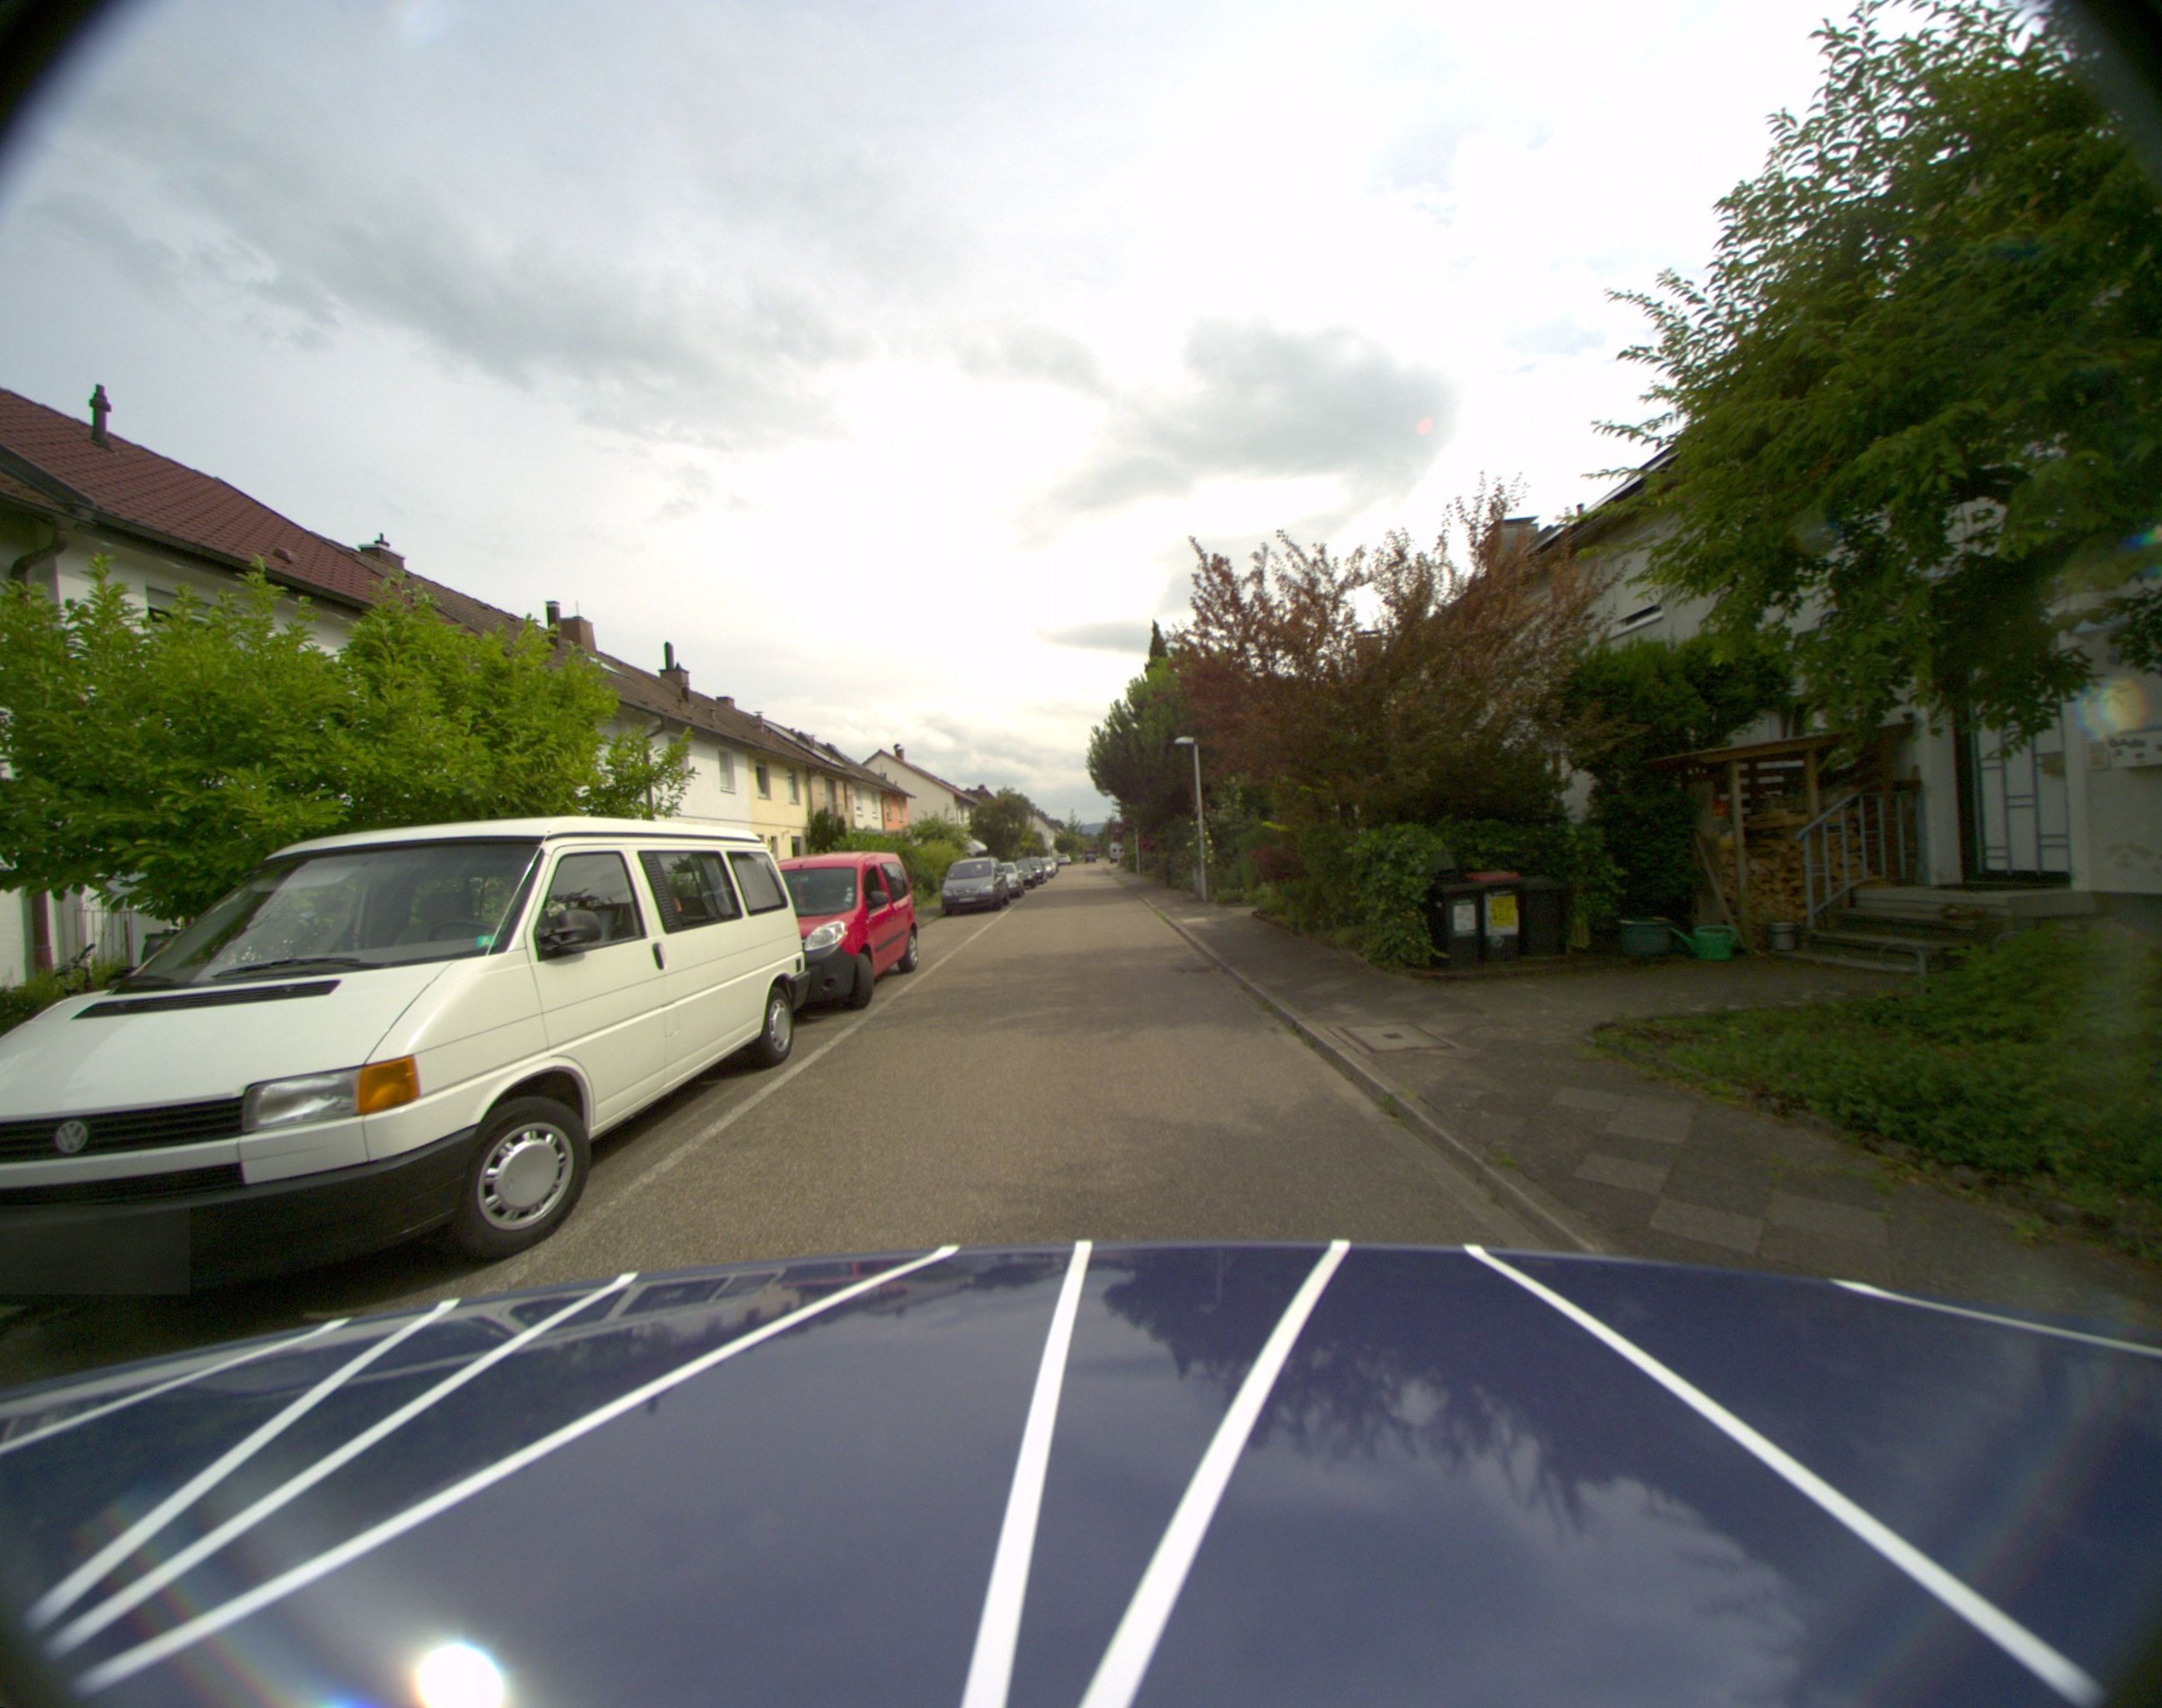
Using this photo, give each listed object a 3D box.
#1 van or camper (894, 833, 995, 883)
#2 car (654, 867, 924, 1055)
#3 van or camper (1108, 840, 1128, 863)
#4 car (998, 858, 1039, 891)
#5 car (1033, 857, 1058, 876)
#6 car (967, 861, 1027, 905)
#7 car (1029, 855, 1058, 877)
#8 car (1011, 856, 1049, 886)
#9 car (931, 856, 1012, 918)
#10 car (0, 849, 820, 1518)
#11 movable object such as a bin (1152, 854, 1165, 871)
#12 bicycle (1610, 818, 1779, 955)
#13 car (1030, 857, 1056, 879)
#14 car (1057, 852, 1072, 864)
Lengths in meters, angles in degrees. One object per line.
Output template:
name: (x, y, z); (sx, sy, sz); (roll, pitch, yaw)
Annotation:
van or camper: (-8.681, 0.275, 48.710); (5.811, 2.801, 2.537); (-3, 1, 4)
car: (-3.293, 1.082, 9.608); (1.815, 1.641, 4.409); (-3, 0, -3)
van or camper: (4.807, -0.359, 99.336); (2.346, 2.719, 5.747); (-4, 0, 1)
car: (-3.082, 0.991, 38.084); (1.737, 1.419, 4.125); (-4, 0, -2)
car: (-2.830, 0.958, 61.657); (1.697, 1.357, 4.697); (-4, 0, 0)
car: (-3.232, 1.072, 30.220); (1.872, 1.399, 4.766); (-5, 0, -2)
car: (-2.748, 0.880, 56.052); (1.746, 1.462, 4.217); (-4, 0, 1)
car: (-2.866, 0.941, 43.740); (1.753, 1.458, 4.647); (-4, 0, 0)
car: (-3.312, 0.941, 23.778); (1.872, 1.644, 4.463); (-4, 0, -1)
car: (-3.420, 1.004, 4.609); (2.026, 1.936, 4.746); (-3, 0, -1)
movable object such as a bin: (4.988, 0.544, 48.826); (0.705, 1.065, 0.822); (-3, 1, 0)
bicycle: (6.975, 0.329, 8.765); (0.432, 1.387, 1.848); (-4, 1, 2)
car: (-2.788, 0.991, 56.062); (1.708, 1.434, 4.219); (-5, 0, -2)
car: (-2.397, 0.516, 108.871); (1.999, 1.590, 3.999); (-4, 0, -3)
